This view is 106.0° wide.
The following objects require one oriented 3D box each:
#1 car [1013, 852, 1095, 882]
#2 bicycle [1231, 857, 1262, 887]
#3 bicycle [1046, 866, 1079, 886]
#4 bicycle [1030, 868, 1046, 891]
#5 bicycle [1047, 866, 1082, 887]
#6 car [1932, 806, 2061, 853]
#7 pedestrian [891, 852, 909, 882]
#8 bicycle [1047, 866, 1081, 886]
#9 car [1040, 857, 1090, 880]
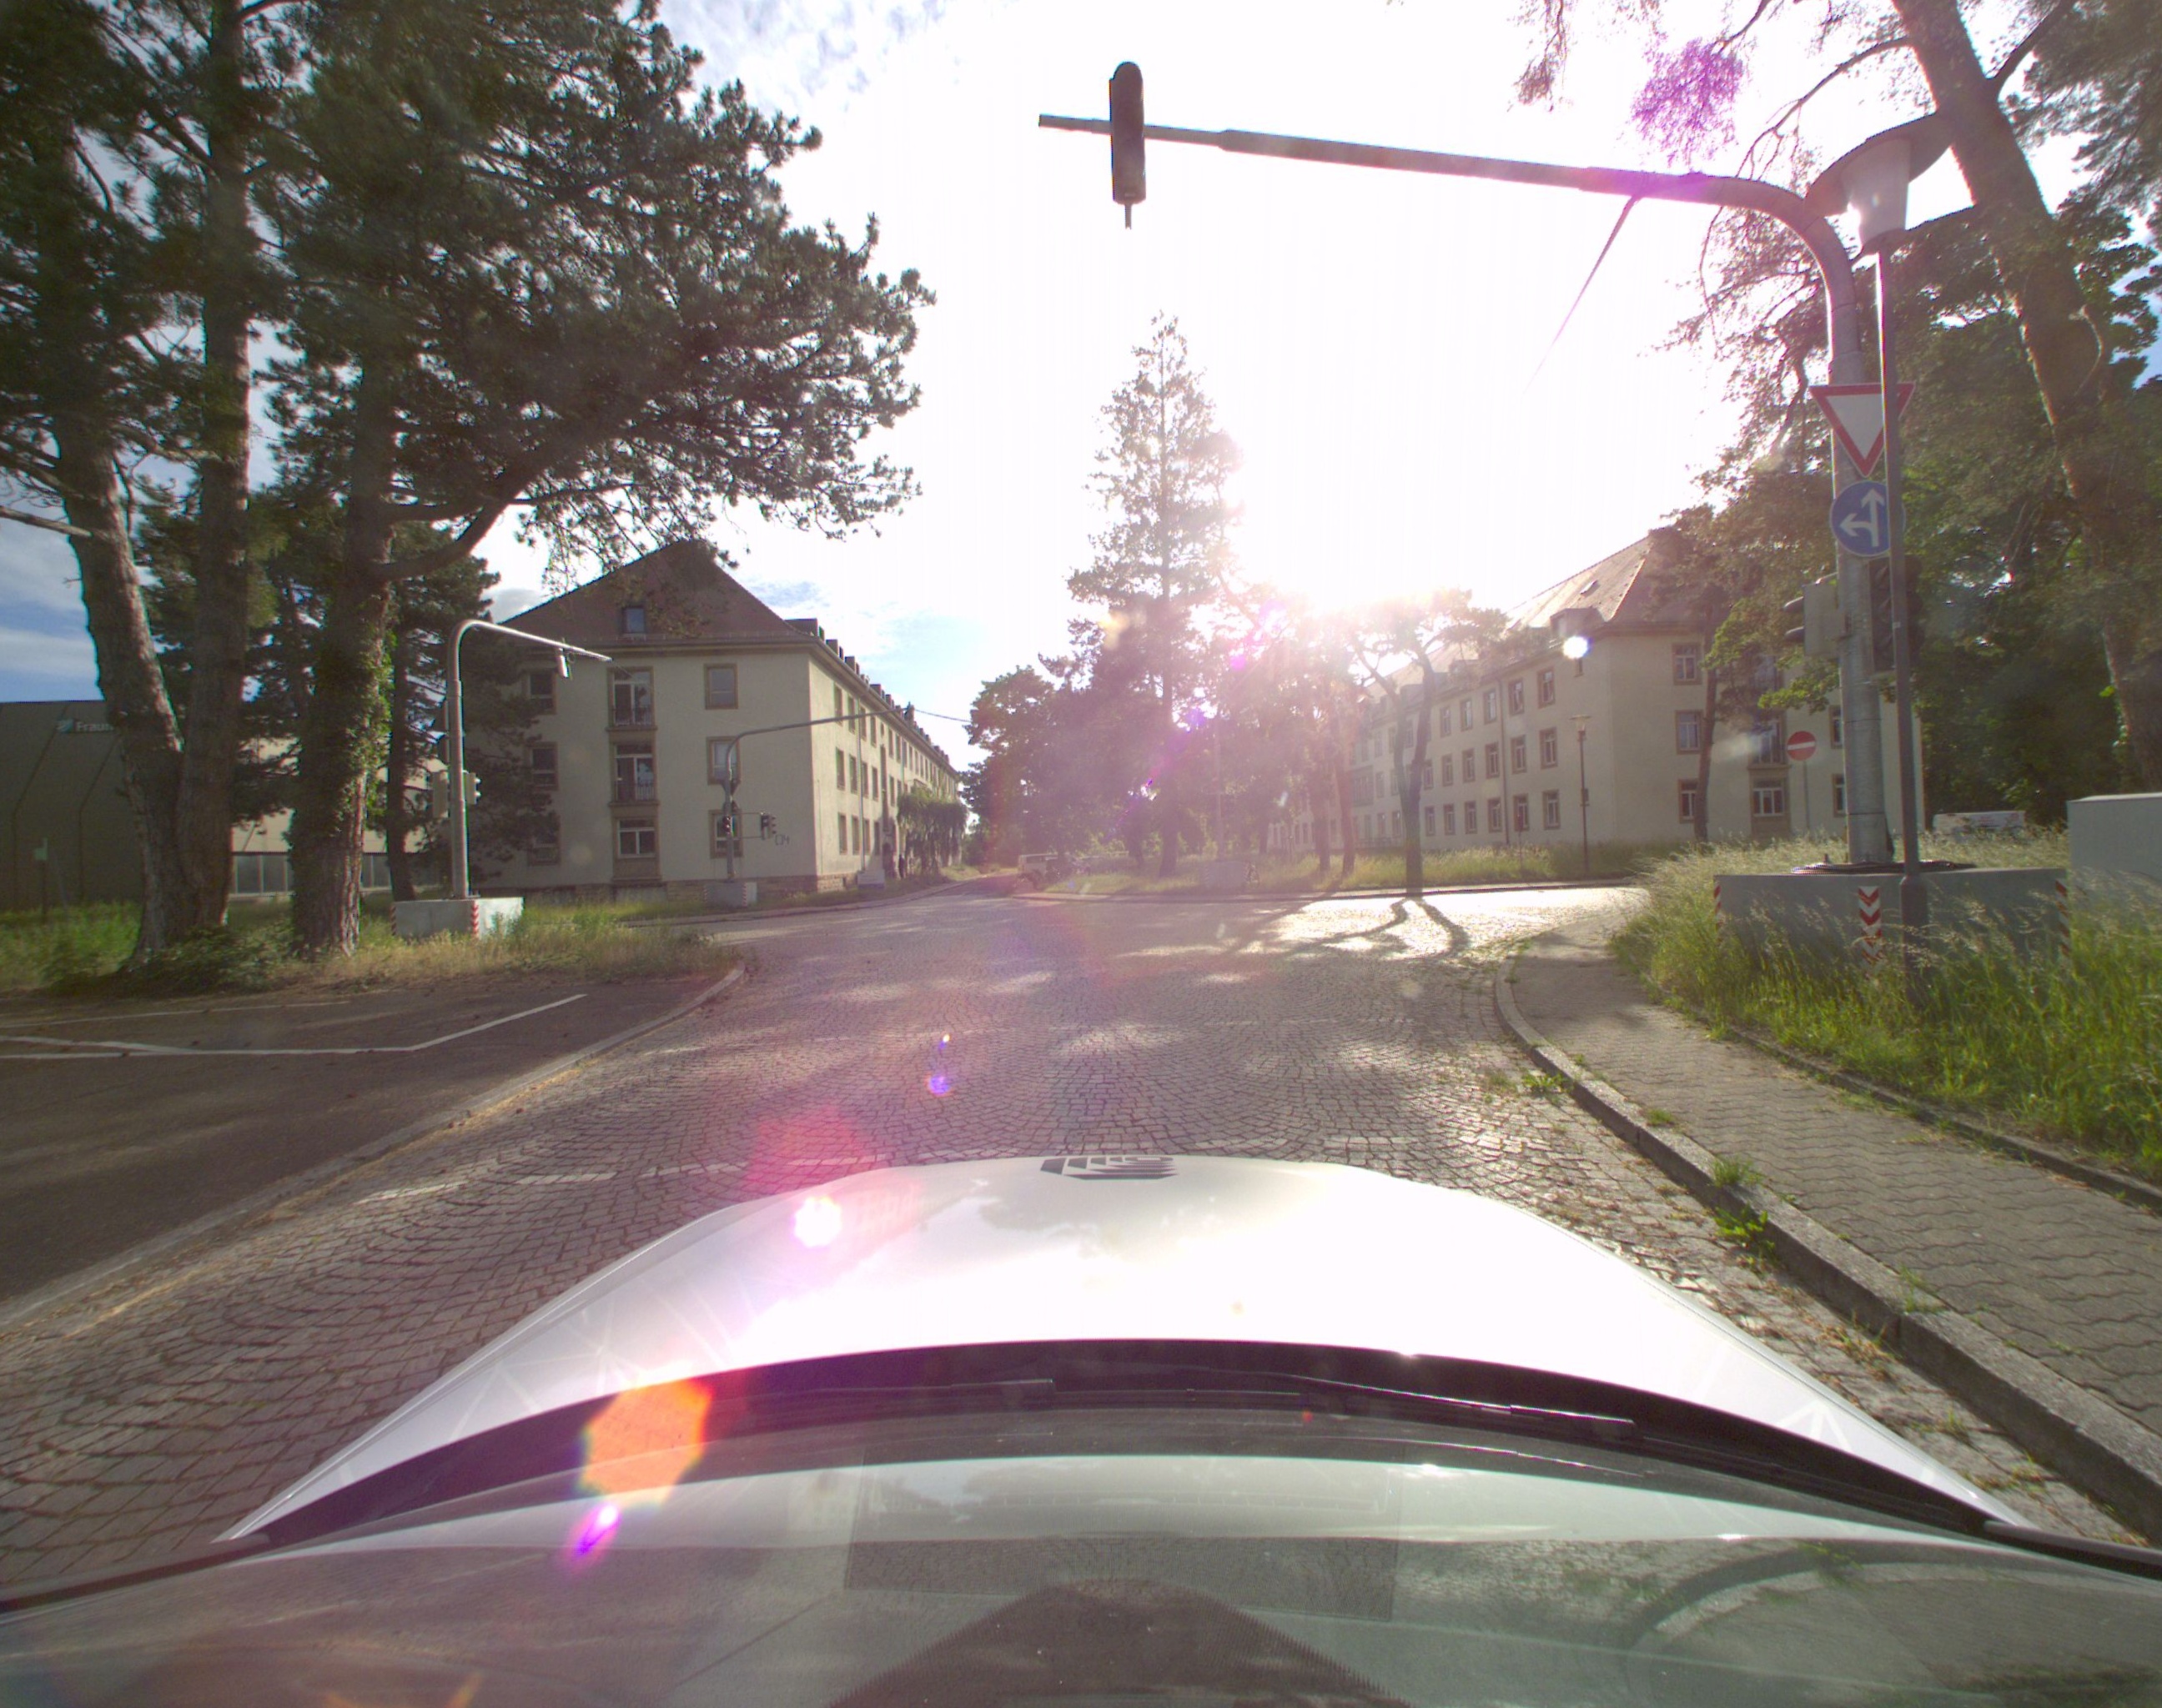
[{"bbox_3d":[-1.957,0.939,58.854,5.514,1.916,2.241,-2,-1,-17],"label":"car"},{"bbox_3d":[5.918,0.620,29.199,0.562,0.999,1.748,-2,1,-7],"label":"bicycle"},{"bbox_3d":[-1.068,1.233,46.218,1.789,0.999,0.643,-2,0,-5],"label":"bicycle"},{"bbox_3d":[-2.081,1.203,39.303,0.726,0.999,1.797,-2,1,-3],"label":"bicycle"},{"bbox_3d":[-0.885,1.181,42.968,1.789,0.999,0.643,-2,0,-5],"label":"bicycle"},{"bbox_3d":[54.170,-1.404,48.277,5.145,2.536,2.262,-2,-1,-2],"label":"car"},{"bbox_3d":[-12.137,0.853,54.659,0.983,1.963,0.931,-2,-1,-4],"label":"pedestrian"},{"bbox_3d":[-0.934,1.198,43.986,1.789,0.999,0.643,-2,0,-5],"label":"bicycle"},{"bbox_3d":[-1.119,0.987,55.335,3.038,1.465,1.711,-2,-2,-16],"label":"car"}]
